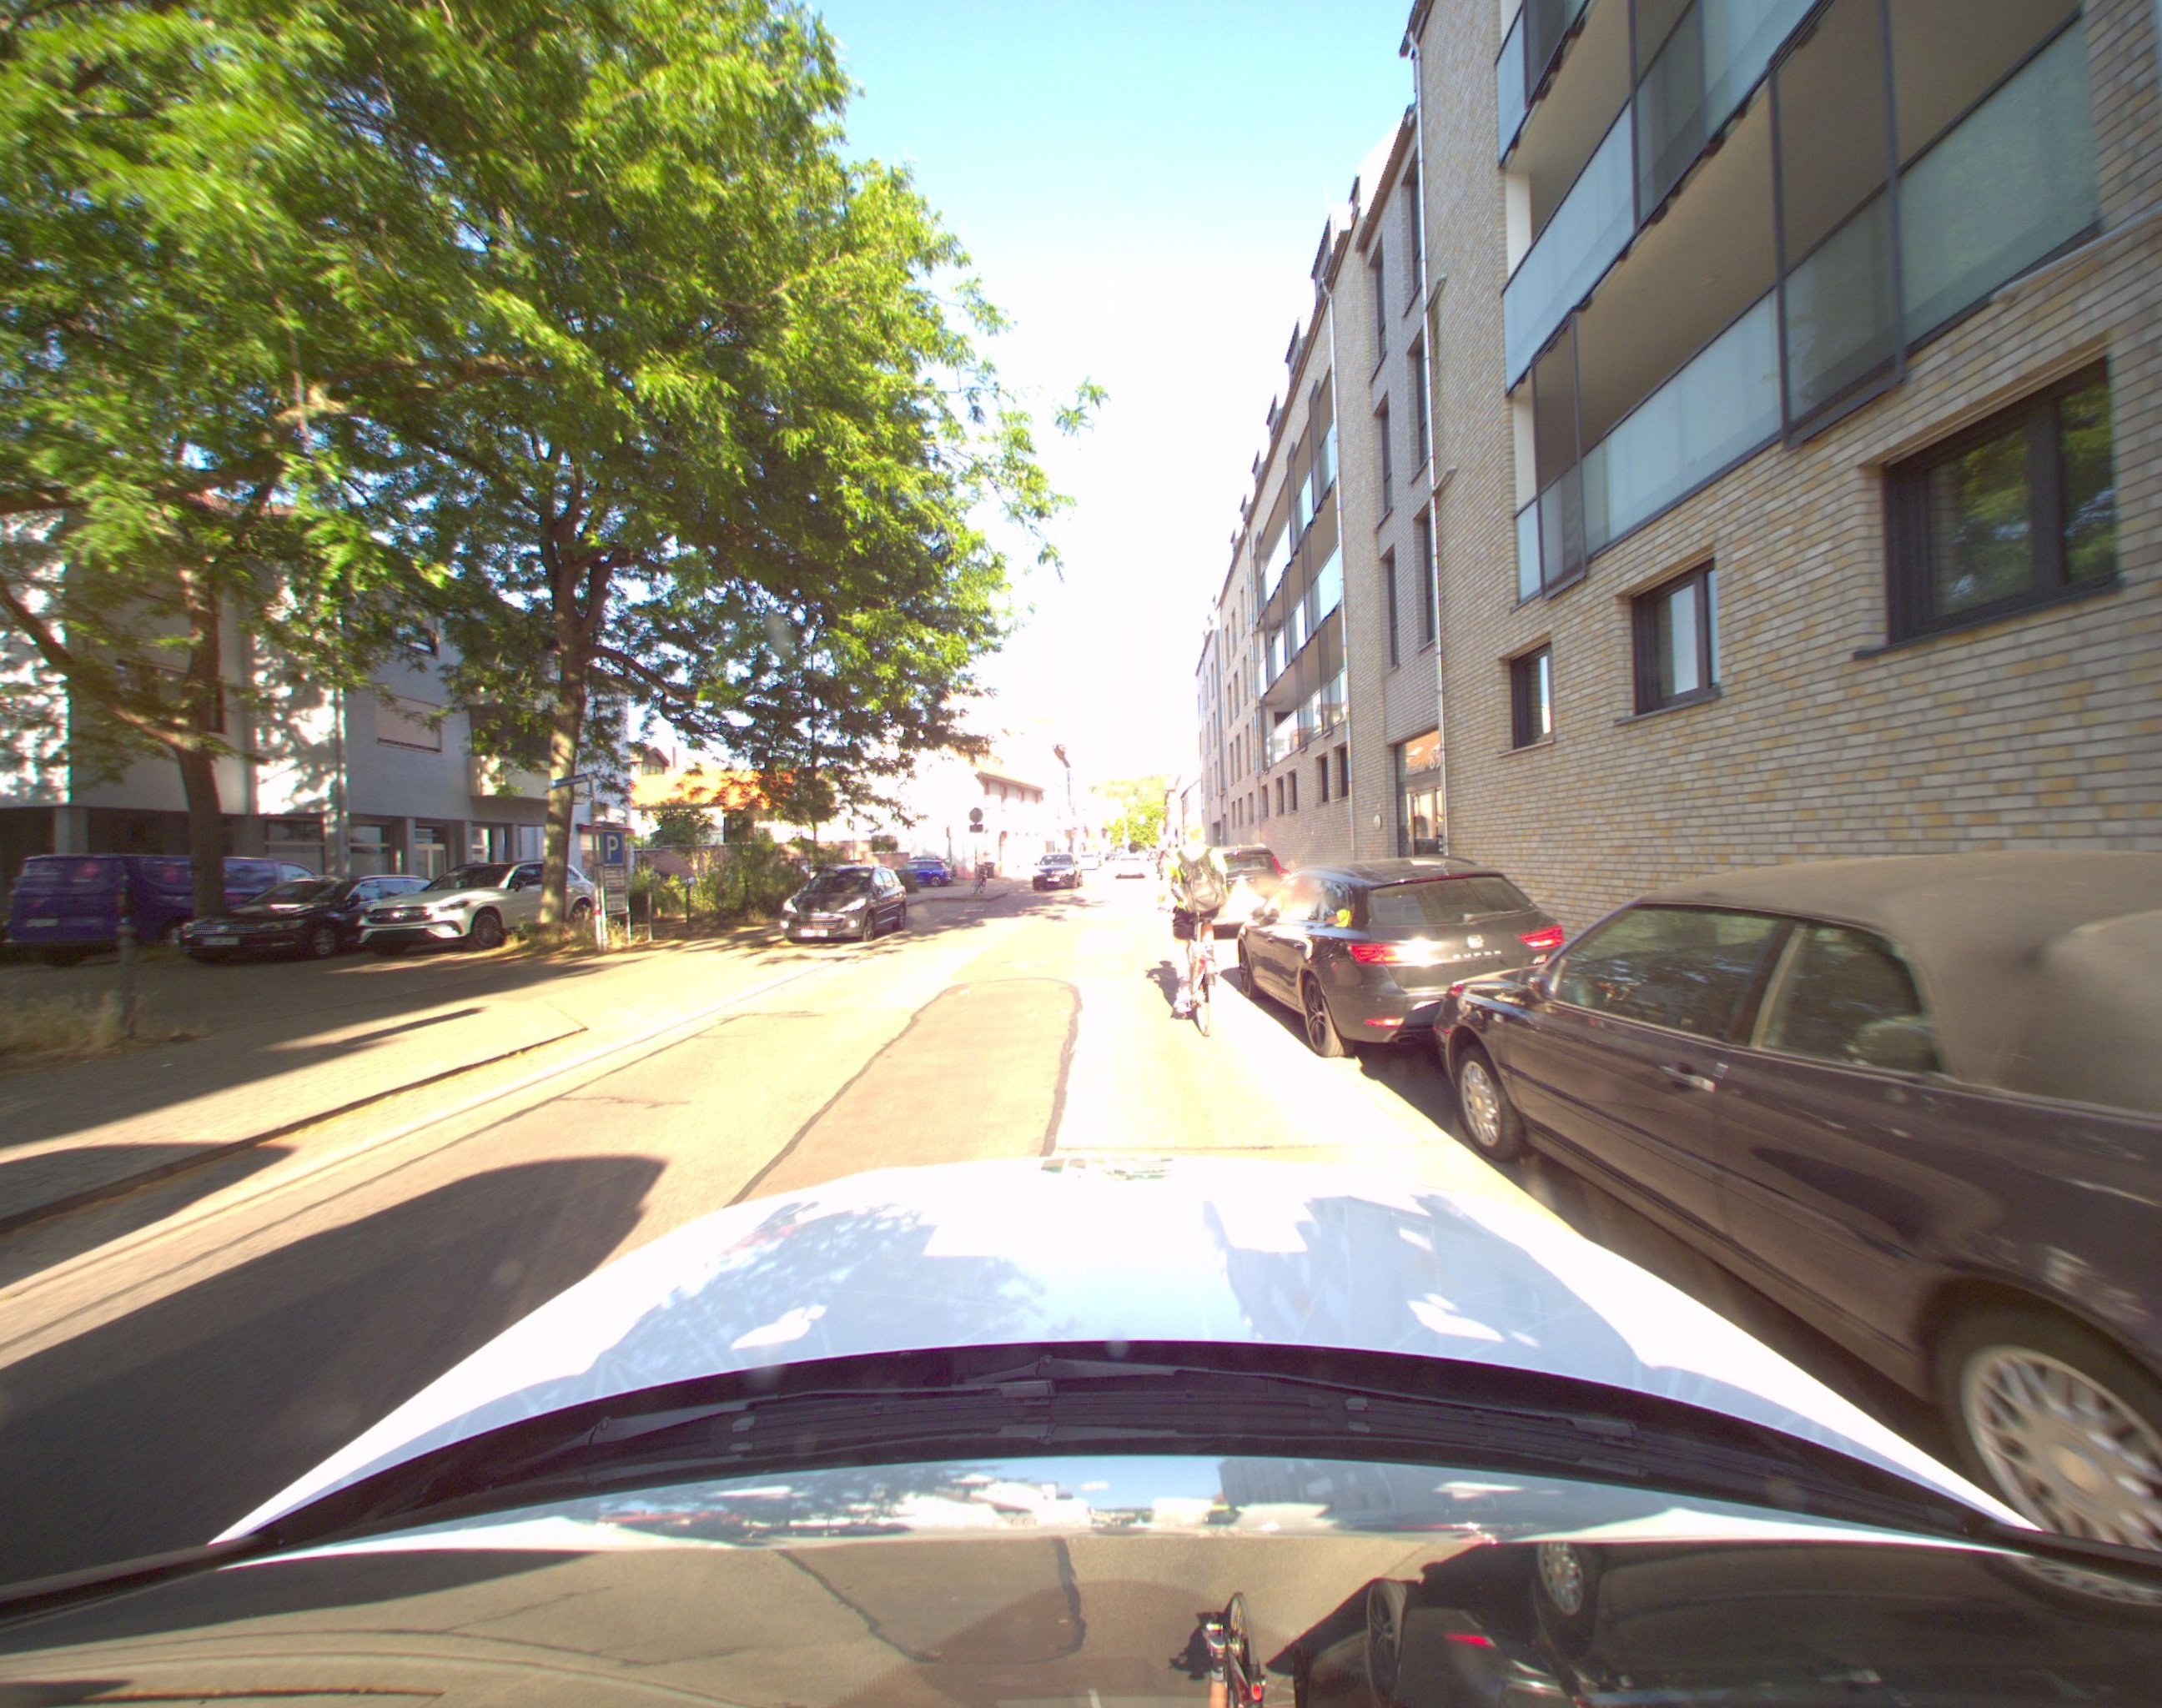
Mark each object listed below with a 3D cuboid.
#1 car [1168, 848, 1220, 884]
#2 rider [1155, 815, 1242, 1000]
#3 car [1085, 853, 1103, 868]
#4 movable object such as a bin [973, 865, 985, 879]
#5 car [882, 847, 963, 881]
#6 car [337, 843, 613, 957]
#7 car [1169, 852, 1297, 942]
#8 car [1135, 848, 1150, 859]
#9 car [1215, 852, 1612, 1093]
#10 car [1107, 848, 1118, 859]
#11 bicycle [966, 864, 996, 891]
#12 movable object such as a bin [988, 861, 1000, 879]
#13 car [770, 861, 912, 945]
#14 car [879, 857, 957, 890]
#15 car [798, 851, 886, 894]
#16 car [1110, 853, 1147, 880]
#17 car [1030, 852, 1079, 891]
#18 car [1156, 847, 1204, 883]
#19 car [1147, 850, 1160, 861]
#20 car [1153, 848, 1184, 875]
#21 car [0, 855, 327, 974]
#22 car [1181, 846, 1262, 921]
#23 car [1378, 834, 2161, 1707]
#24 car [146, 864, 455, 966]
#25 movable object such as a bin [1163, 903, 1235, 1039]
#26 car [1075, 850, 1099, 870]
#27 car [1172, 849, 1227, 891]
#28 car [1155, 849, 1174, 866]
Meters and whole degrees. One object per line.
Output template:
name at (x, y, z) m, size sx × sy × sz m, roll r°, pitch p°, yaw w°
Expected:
car at (5.136, 0.502, 37.535) m, size 1.985 × 1.505 × 4.370 m, roll -2°, pitch 0°, yaw 3°
rider at (1.049, 0.463, 7.480) m, size 0.651 × 1.562 × 1.083 m, roll 1°, pitch -1°, yaw 2°
car at (1.452, 0.738, 89.710) m, size 1.724 × 1.499 × 3.962 m, roll -2°, pitch -1°, yaw 3°
movable object such as a bin at (-6.397, 1.131, 51.154) m, size 0.596 × 0.872 × 0.606 m, roll -2°, pitch 0°, yaw 1°
car at (-9.457, 0.550, 48.716) m, size 4.343 × 1.794 × 1.991 m, roll 2°, pitch 3°, yaw 4°
car at (-11.681, 0.757, 16.271) m, size 1.837 × 1.895 × 4.904 m, roll -1°, pitch 0°, yaw -1°
car at (2.821, 0.740, 16.027) m, size 1.809 × 1.466 × 4.271 m, roll -2°, pitch 0°, yaw 2°
car at (8.701, -0.106, 114.982) m, size 1.985 × 1.466 × 4.003 m, roll -2°, pitch 0°, yaw 3°
car at (2.557, 0.771, 7.655) m, size 1.691 × 1.467 × 4.718 m, roll -3°, pitch 0°, yaw -1°
car at (5.781, -0.087, 150.095) m, size 1.986 × 2.013 × 4.002 m, roll -1°, pitch 0°, yaw 2°
bicycle at (-3.933, 0.918, 32.146) m, size 0.700 × 1.003 × 1.945 m, roll -1°, pitch 0°, yaw 7°
movable object such as a bin at (-5.565, 1.028, 52.122) m, size 0.596 × 1.094 × 0.752 m, roll -1°, pitch 0°, yaw 4°
car at (-4.948, 0.935, 17.373) m, size 1.690 × 1.492 × 4.002 m, roll -2°, pitch 0°, yaw 2°
car at (-8.973, 1.060, 44.980) m, size 3.751 × 1.530 × 2.002 m, roll -3°, pitch 1°, yaw 4°
car at (-13.194, 0.988, 45.096) m, size 3.970 × 1.499 × 2.003 m, roll -10°, pitch 3°, yaw 4°
car at (2.767, 0.714, 48.127) m, size 1.986 × 1.466 × 4.002 m, roll -2°, pitch 0°, yaw 2°
car at (-1.128, 0.761, 36.528) m, size 1.932 × 1.576 × 4.320 m, roll -2°, pitch 0°, yaw 1°
car at (5.129, 0.525, 42.655) m, size 1.986 × 1.653 × 4.764 m, roll -2°, pitch 1°, yaw 1°
car at (12.764, 0.327, 143.561) m, size 2.003 × 1.853 × 4.003 m, roll -1°, pitch 1°, yaw 3°
car at (5.930, 0.486, 55.557) m, size 1.846 × 1.636 × 4.629 m, roll -4°, pitch 0°, yaw 4°
car at (-17.634, 1.022, 16.006) m, size 2.017 × 1.948 × 4.310 m, roll -2°, pitch 0°, yaw -9°
car at (3.704, 0.691, 21.987) m, size 1.879 × 1.712 × 4.784 m, roll -2°, pitch 1°, yaw 8°
car at (2.735, 0.743, 3.011) m, size 1.658 × 1.516 × 4.218 m, roll -4°, pitch 0°, yaw 0°
car at (-14.216, 1.018, 15.216) m, size 2.068 × 1.575 × 3.808 m, roll -1°, pitch 0°, yaw 0°
movable object such as a bin at (1.058, 1.012, 7.593) m, size 0.453 × 1.033 × 1.841 m, roll 1°, pitch -1°, yaw 2°
car at (0.571, 0.515, 73.177) m, size 1.986 × 1.648 × 5.223 m, roll -1°, pitch 0°, yaw 1°
car at (4.685, 0.600, 32.625) m, size 1.705 × 1.404 × 4.076 m, roll -5°, pitch 0°, yaw 3°
car at (8.064, 0.344, 78.887) m, size 1.733 × 1.492 × 4.445 m, roll -3°, pitch 0°, yaw 5°
